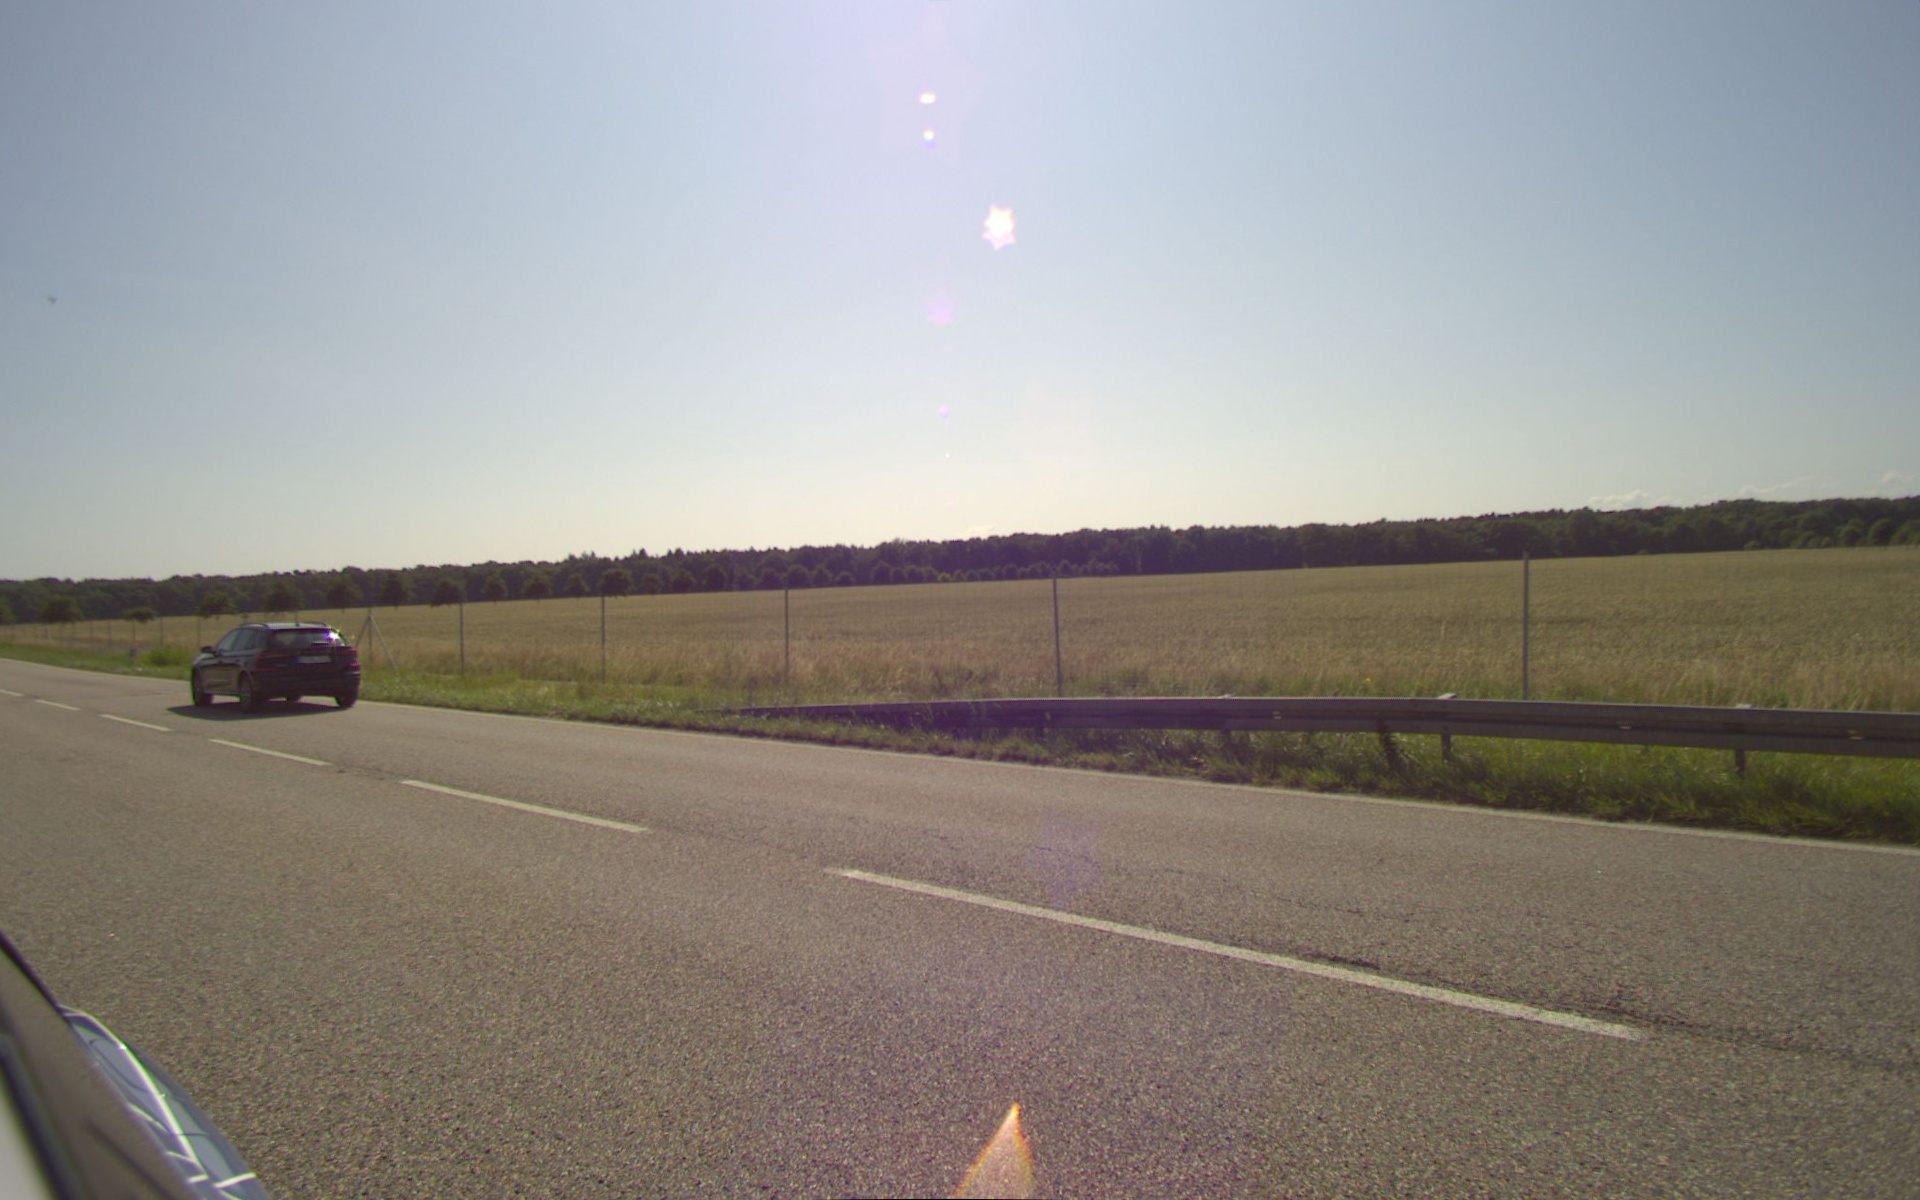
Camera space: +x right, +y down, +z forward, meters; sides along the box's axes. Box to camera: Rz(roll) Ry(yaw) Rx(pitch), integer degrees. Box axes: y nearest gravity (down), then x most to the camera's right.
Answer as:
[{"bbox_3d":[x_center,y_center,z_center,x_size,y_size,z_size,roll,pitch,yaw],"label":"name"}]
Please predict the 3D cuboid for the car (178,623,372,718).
[{"bbox_3d":[-12.696,1.227,18.663,4.156,1.519,1.811,-2,-1,38],"label":"car"}]
